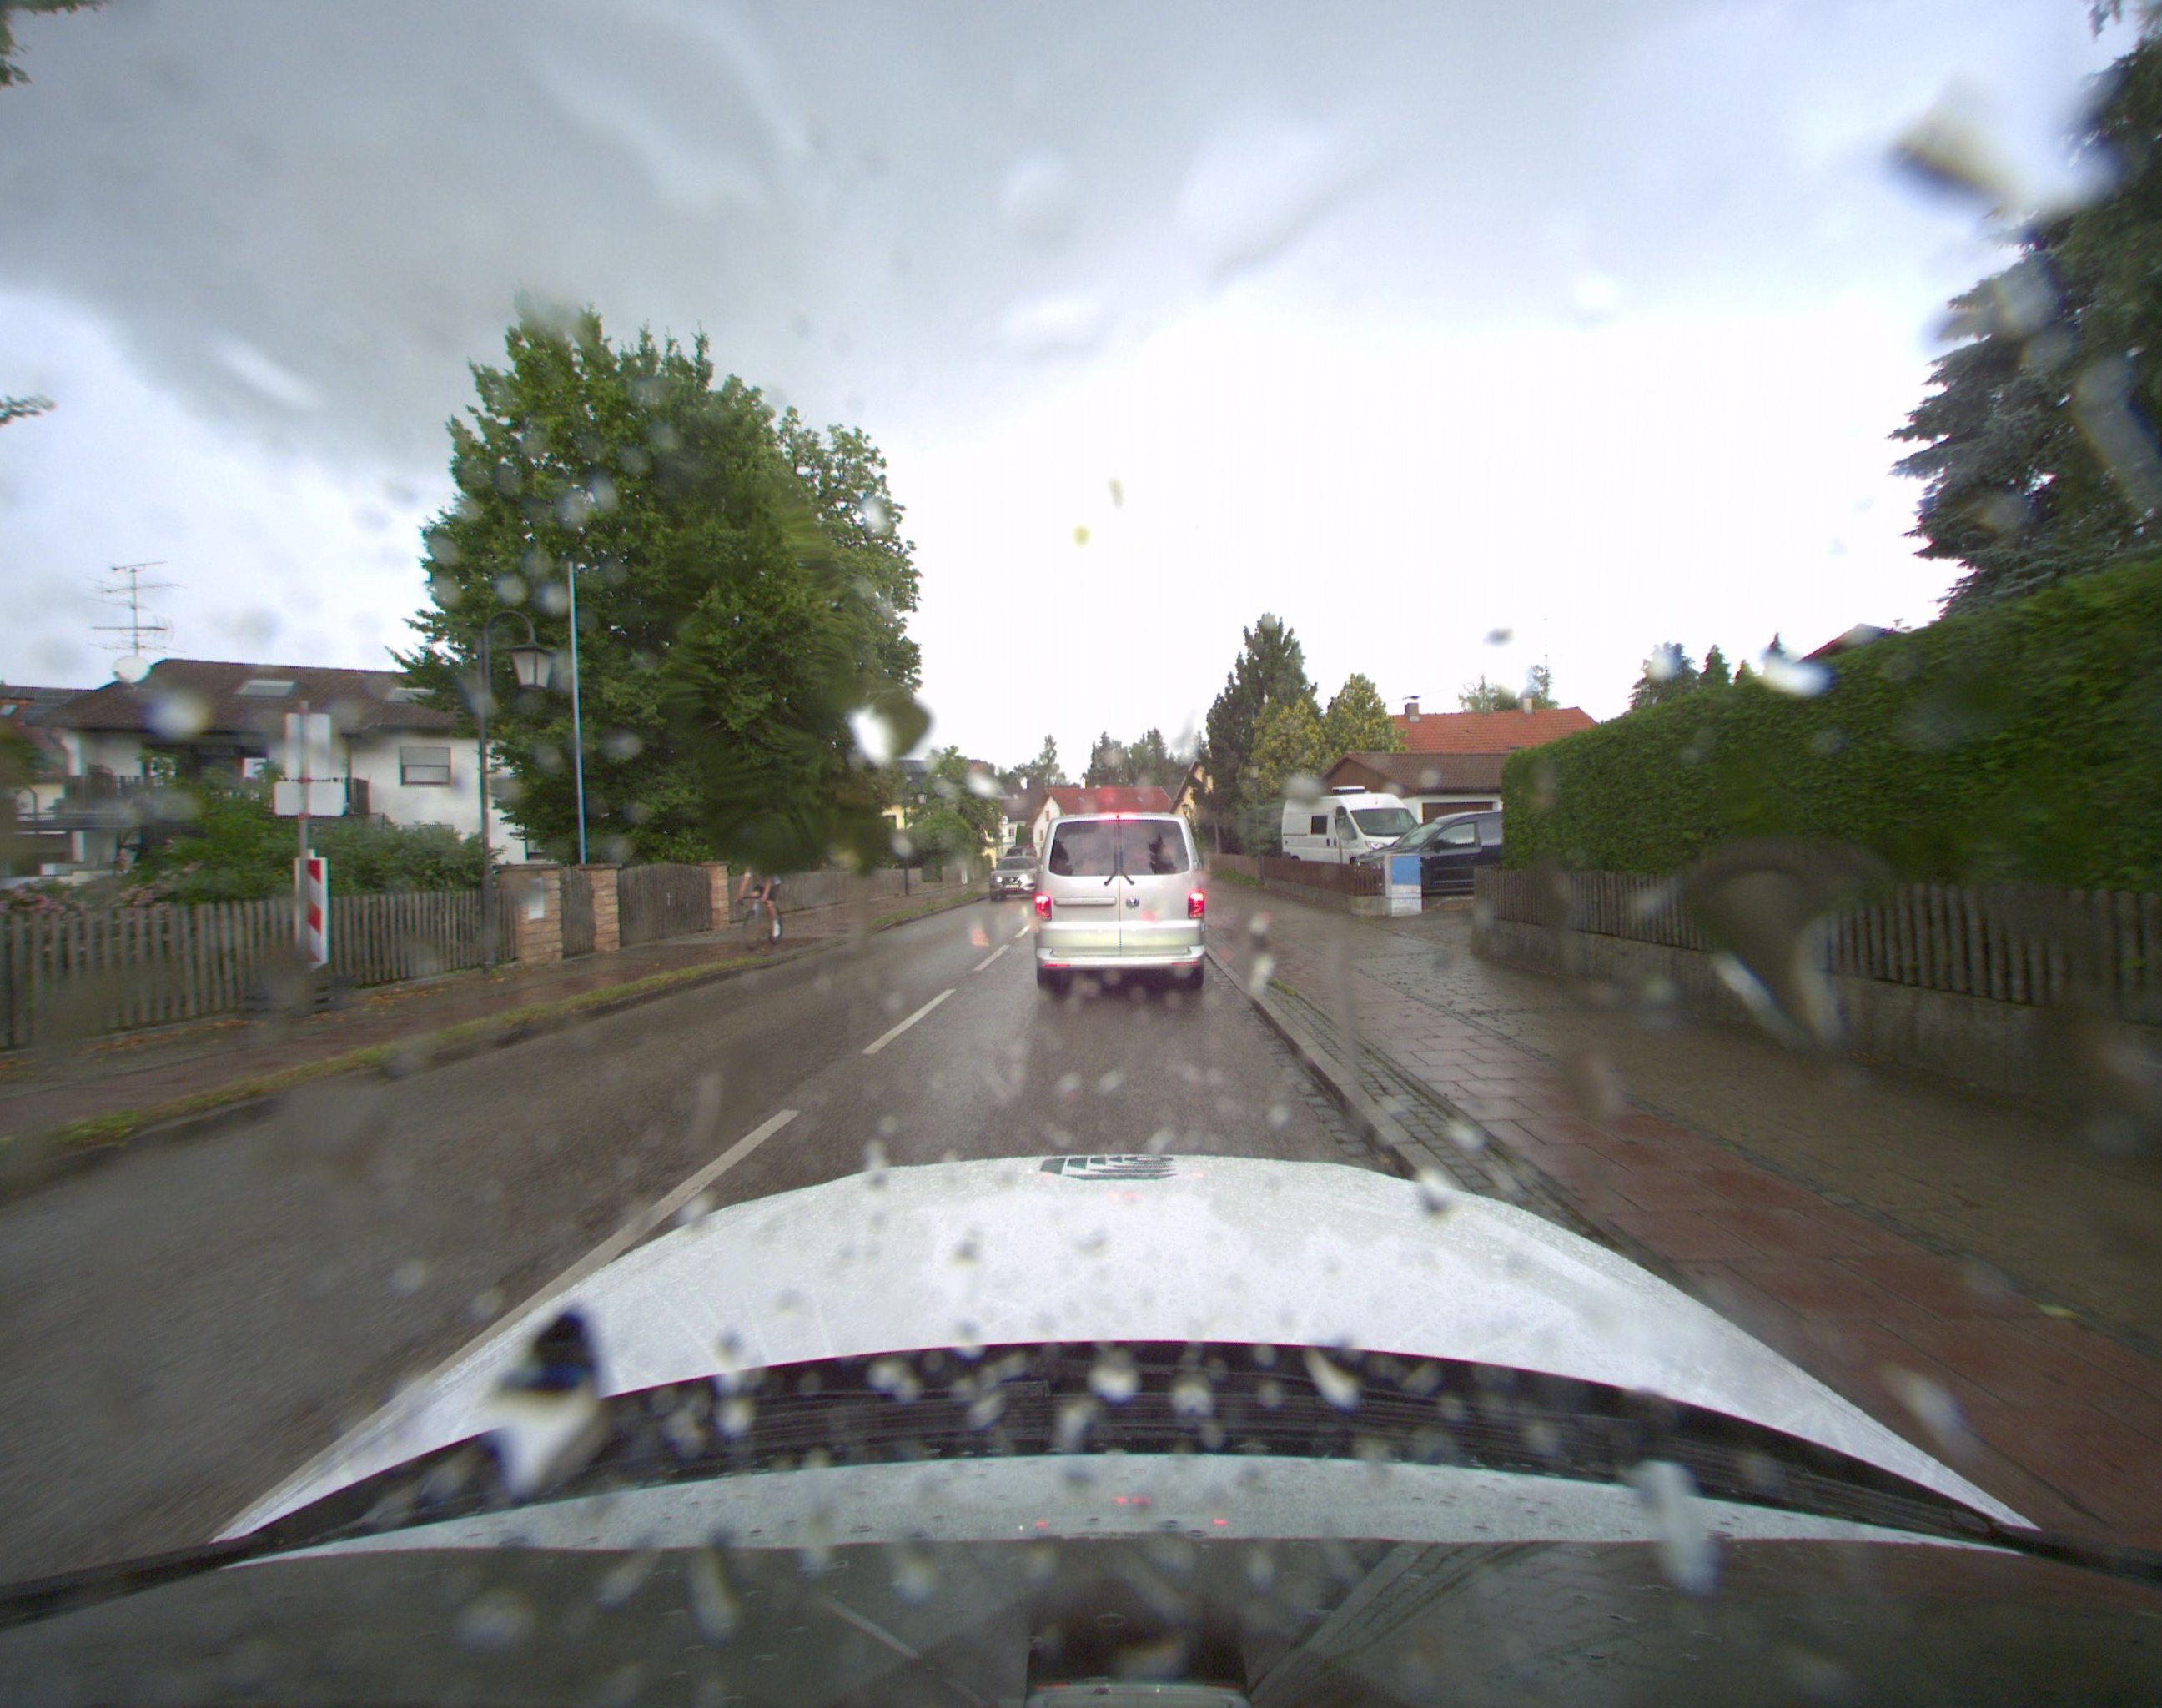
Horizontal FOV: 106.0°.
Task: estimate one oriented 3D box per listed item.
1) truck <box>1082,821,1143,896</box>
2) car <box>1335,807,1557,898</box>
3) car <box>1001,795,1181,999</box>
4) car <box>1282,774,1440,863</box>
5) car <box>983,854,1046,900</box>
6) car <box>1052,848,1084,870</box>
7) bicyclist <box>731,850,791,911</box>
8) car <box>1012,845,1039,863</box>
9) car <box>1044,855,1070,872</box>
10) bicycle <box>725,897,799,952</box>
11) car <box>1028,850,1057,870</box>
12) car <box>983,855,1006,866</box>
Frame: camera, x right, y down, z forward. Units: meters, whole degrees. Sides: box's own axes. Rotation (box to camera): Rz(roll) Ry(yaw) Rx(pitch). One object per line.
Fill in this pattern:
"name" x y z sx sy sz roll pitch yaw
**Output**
"truck" 1.389 0.232 36.257 2.466 3.074 6.298 0 -1 2
"car" 7.865 -0.063 17.785 4.082 1.751 1.694 -2 2 -2
"car" 0.258 0.453 10.077 1.792 2.014 4.005 0 -1 5
"car" 7.626 -0.855 22.803 1.994 2.173 4.933 0 -1 -11
"car" -2.452 0.838 30.981 1.820 1.558 4.179 -2 -1 2
"car" -1.259 0.511 79.415 2.000 2.014 3.974 0 -1 -19
"bicyclist" -5.583 0.445 14.271 0.585 1.021 1.061 -1 0 2
"car" -6.428 0.047 93.422 2.001 2.014 3.970 0 -1 -22
"car" -1.946 0.761 65.153 1.778 1.310 3.766 0 -1 -7
"bicycle" -5.558 1.200 14.296 0.454 0.798 1.978 -1 0 2
"car" -4.137 0.631 86.427 2.001 2.014 3.972 0 -1 -21
"car" -10.851 0.819 102.080 1.789 1.310 3.744 0 -1 -25
